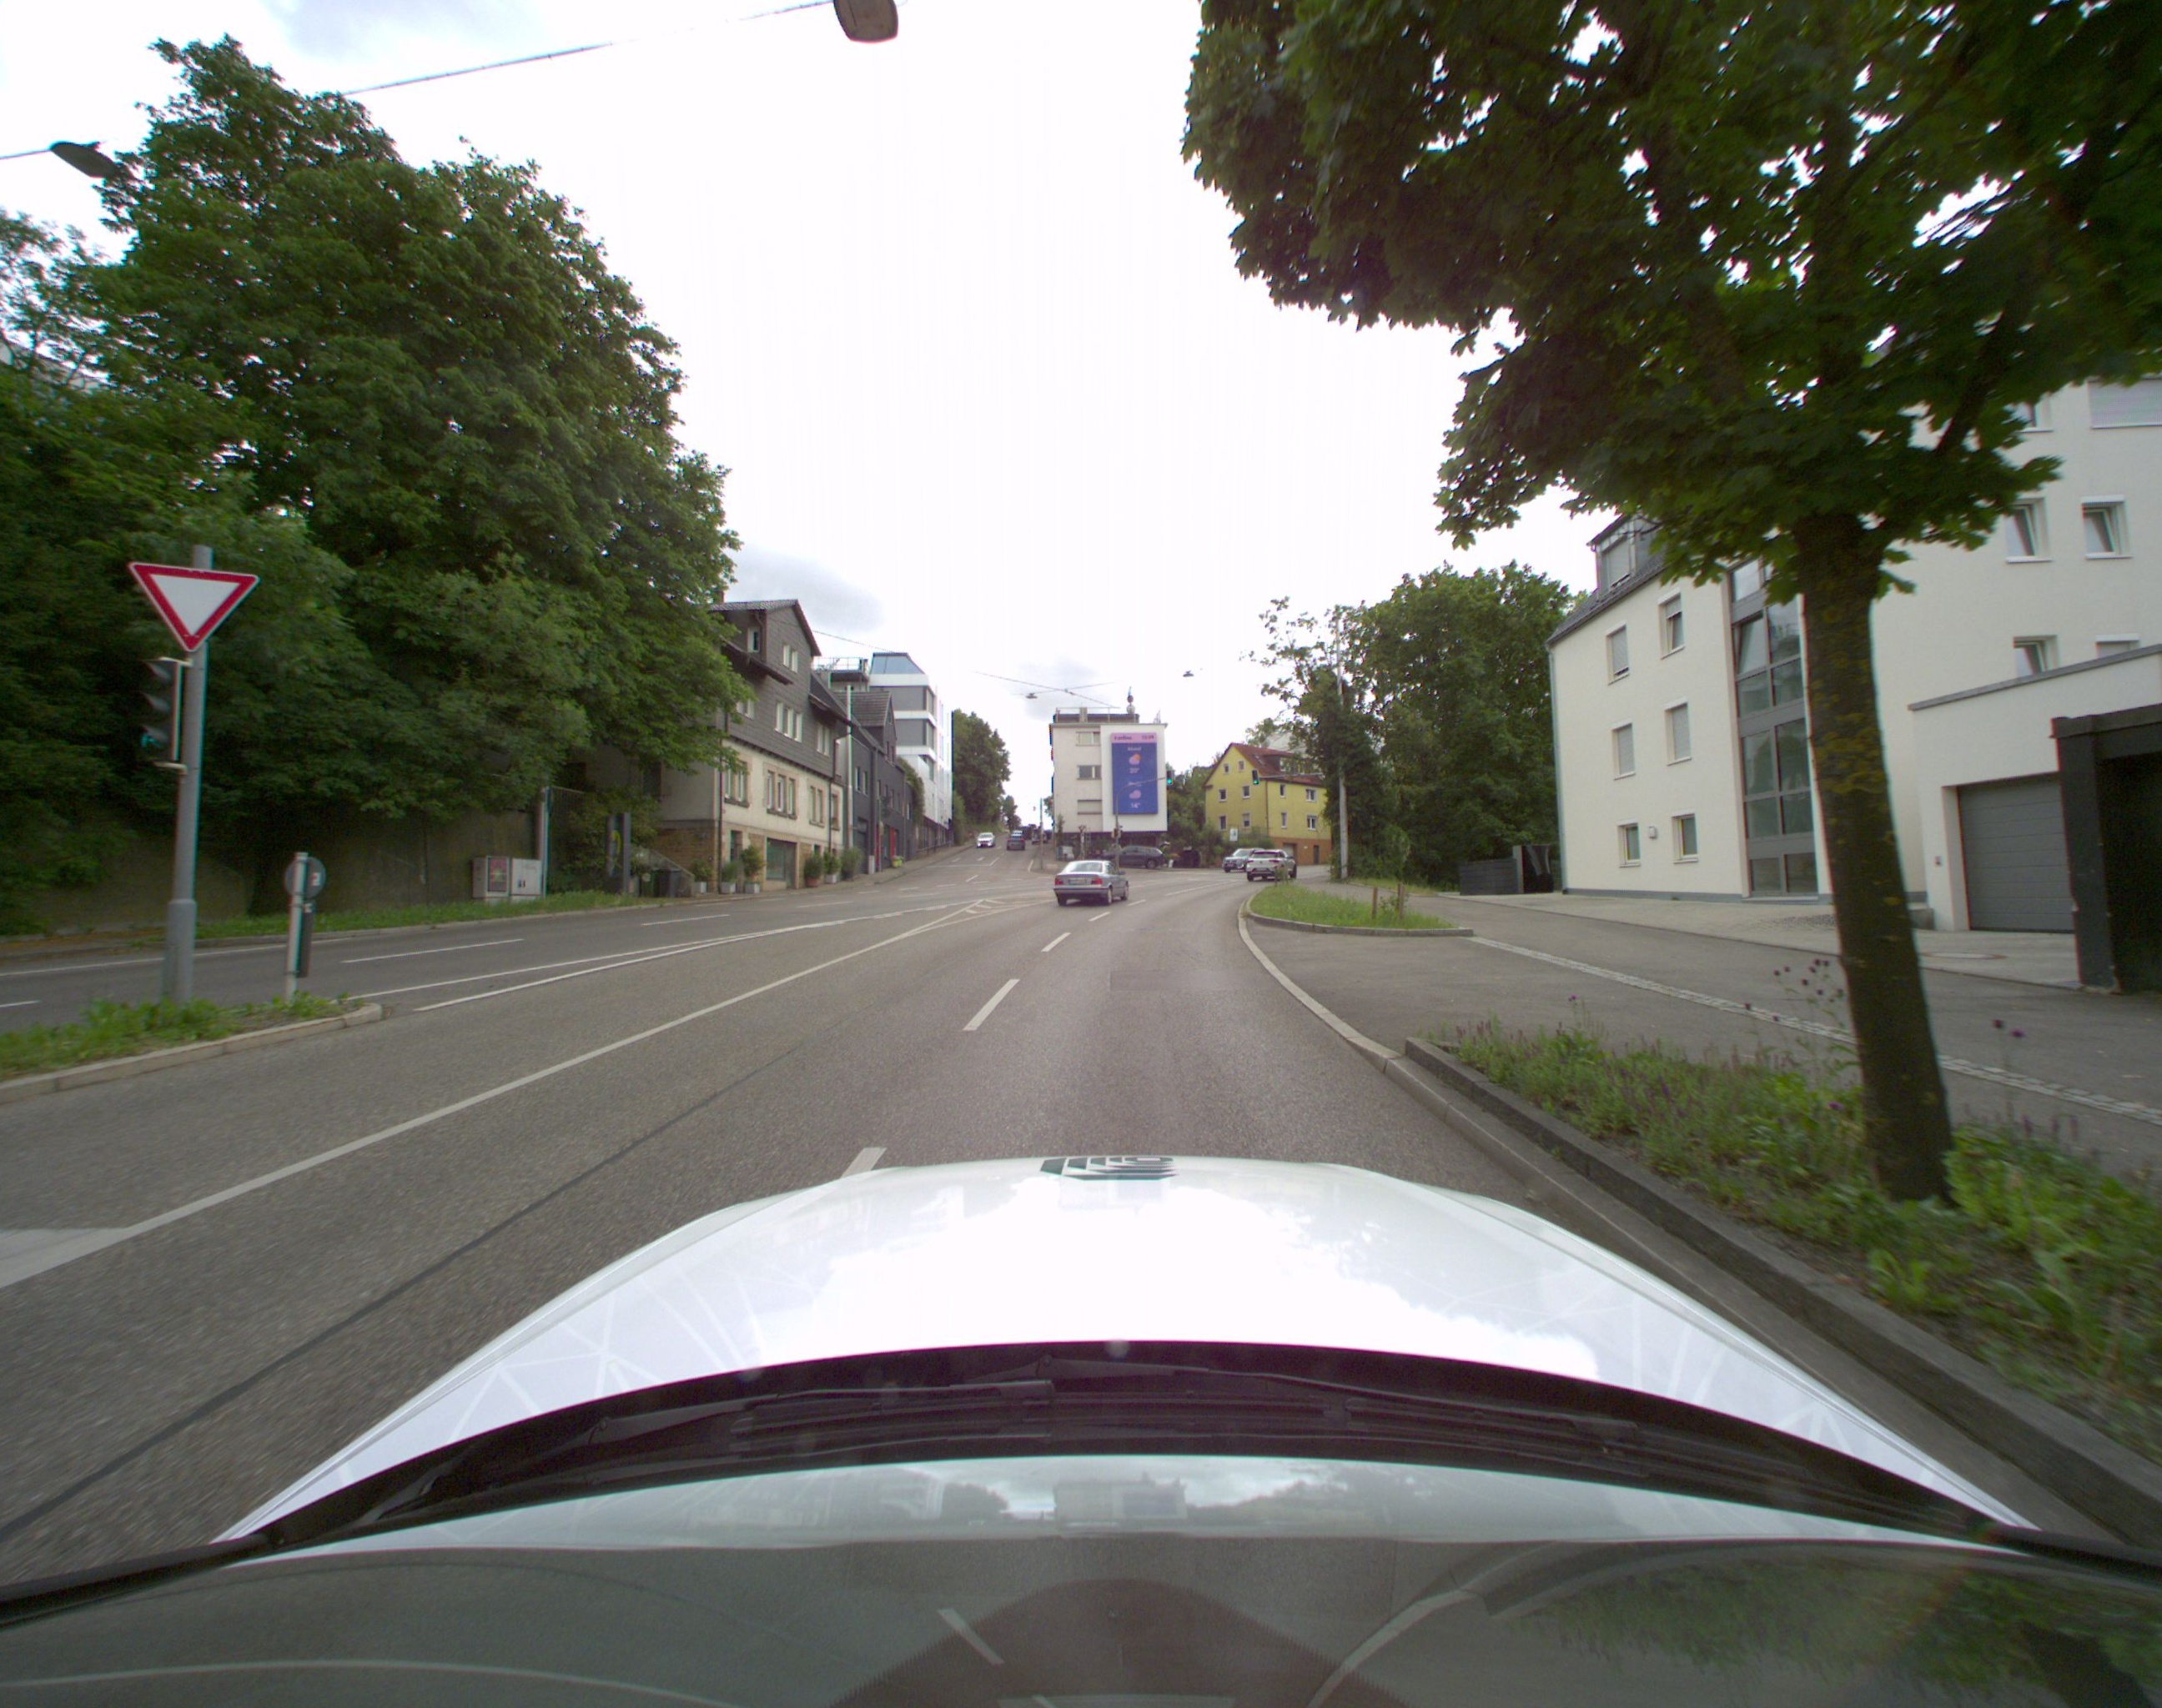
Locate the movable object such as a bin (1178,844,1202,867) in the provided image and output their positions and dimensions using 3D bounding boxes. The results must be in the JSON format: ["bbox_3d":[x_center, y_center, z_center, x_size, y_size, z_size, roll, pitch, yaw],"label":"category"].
[{"bbox_3d":[8.810,0.105,65.857,1.751,1.779,1.861,-1,0,11],"label":"movable object such as a bin"}]

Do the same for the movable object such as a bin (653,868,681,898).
[{"bbox_3d":[-14.342,0.999,28.225,0.534,1.019,0.649,-1,-2,15],"label":"movable object such as a bin"}]

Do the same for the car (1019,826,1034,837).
[{"bbox_3d":[-7.313,-3.025,109.457,1.789,1.465,3.997,0,0,-2],"label":"car"}]

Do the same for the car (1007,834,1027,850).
[{"bbox_3d":[-6.426,-1.217,81.530,1.775,1.579,3.997,0,0,-2],"label":"car"}]

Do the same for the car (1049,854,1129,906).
[{"bbox_3d":[0.326,0.754,25.876,1.694,1.464,4.015,0,0,13],"label":"car"}]

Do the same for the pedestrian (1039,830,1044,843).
[{"bbox_3d":[-4.570,-2.016,94.224,0.456,1.529,0.527,-1,-1,-1],"label":"pedestrian"}]

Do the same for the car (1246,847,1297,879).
[{"bbox_3d":[9.836,0.433,41.835,1.764,1.579,4.023,-1,0,24],"label":"car"}]

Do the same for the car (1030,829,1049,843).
[{"bbox_3d":[-4.875,-2.065,95.442,2.083,1.613,3.999,-1,0,-1],"label":"car"}]

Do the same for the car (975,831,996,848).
[{"bbox_3d":[-10.253,-1.579,87.685,1.878,1.567,4.387,-1,3,-2],"label":"car"}]

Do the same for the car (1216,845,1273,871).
[{"bbox_3d":[11.264,0.274,55.846,1.878,1.695,4.374,-1,0,41],"label":"car"}]

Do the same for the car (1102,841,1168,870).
[{"bbox_3d":[3.973,0.076,60.698,4.676,1.712,2.318,3,3,-2],"label":"car"}]

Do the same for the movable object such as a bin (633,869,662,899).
[{"bbox_3d":[-15.083,1.056,28.357,0.573,1.019,0.649,-1,-2,15],"label":"movable object such as a bin"}]

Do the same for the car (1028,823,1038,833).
[{"bbox_3d":[-9.727,-5.297,164.595,1.988,2.013,3.997,0,0,-2],"label":"car"}]
